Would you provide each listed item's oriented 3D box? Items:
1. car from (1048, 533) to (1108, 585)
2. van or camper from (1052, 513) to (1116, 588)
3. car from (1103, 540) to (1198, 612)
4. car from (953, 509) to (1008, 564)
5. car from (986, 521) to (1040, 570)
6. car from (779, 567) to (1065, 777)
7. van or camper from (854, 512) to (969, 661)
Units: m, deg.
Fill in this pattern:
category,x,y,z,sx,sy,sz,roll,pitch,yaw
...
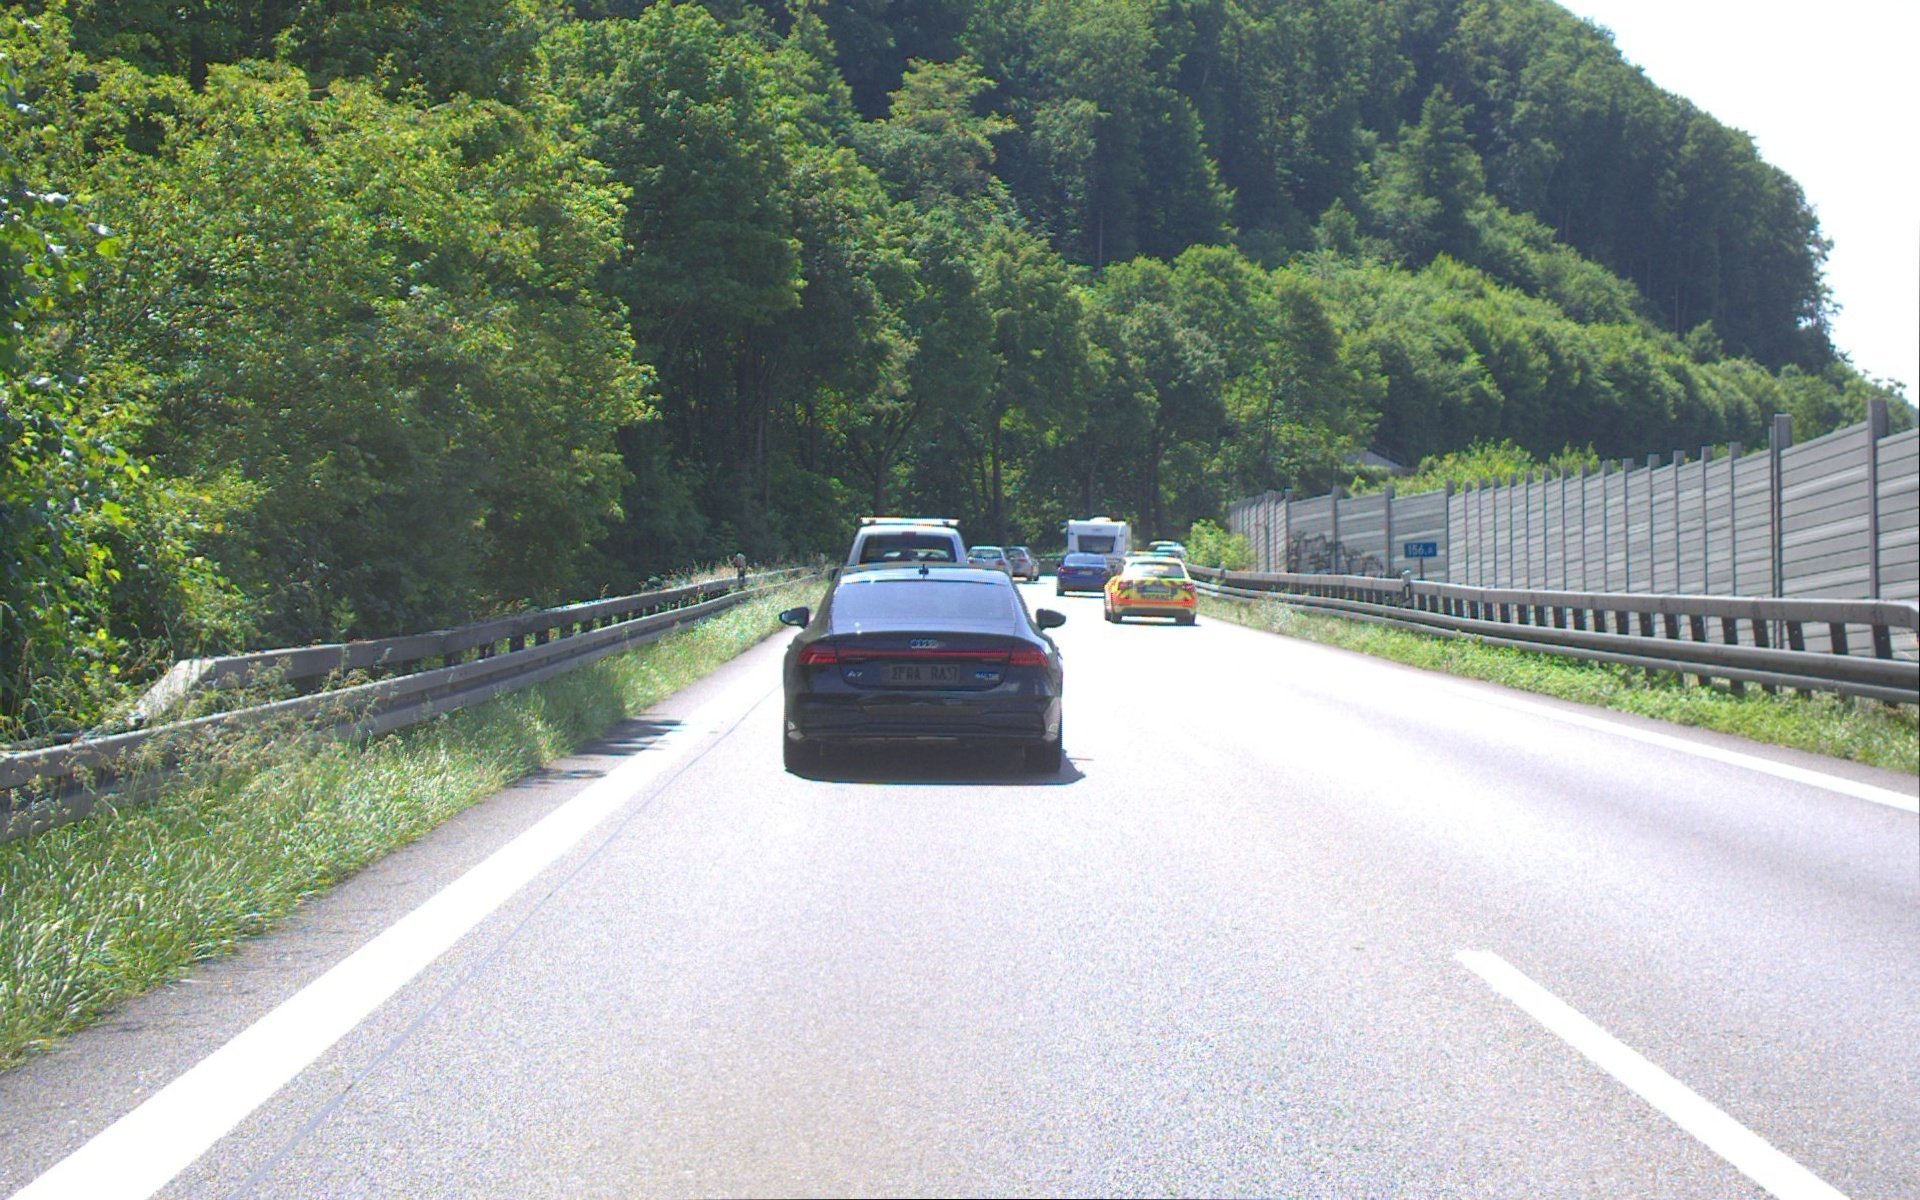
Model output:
category,x,y,z,sx,sy,sz,roll,pitch,yaw
car,3.892,-1.342,113.647,1.773,1.631,4.000,1,0,-1
van or camper,4.927,-1.953,137.566,2.455,2.908,6.126,1,1,2
car,4.108,-0.530,74.519,1.863,1.483,4.000,1,1,1
car,0.756,-2.381,130.315,1.993,2.007,4.000,1,1,-1
car,2.261,-2.292,145.663,1.994,2.007,3.999,1,1,4
car,-0.256,0.448,24.172,1.837,1.345,4.000,0,1,0
van or camper,-0.611,-0.182,44.229,1.391,1.809,4.000,1,1,0
